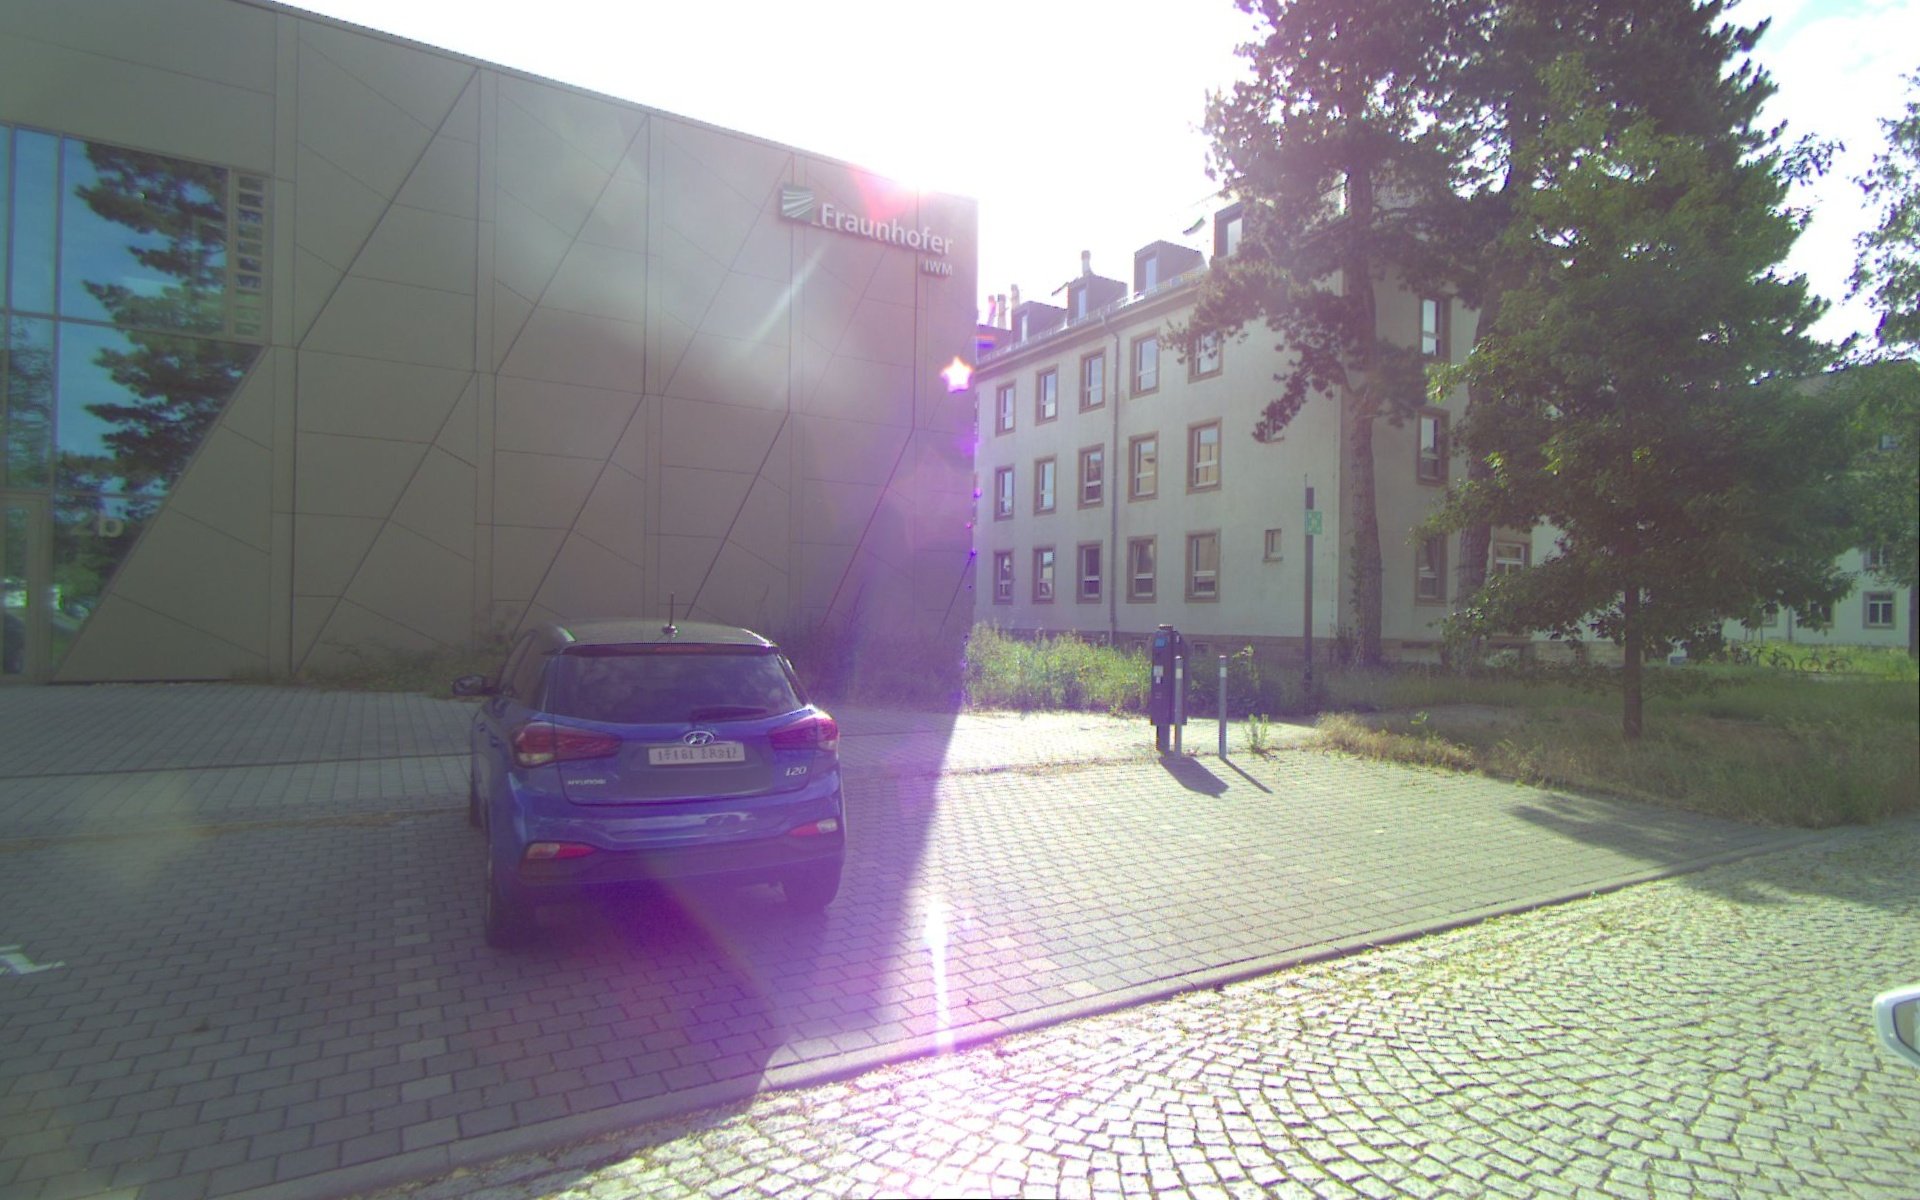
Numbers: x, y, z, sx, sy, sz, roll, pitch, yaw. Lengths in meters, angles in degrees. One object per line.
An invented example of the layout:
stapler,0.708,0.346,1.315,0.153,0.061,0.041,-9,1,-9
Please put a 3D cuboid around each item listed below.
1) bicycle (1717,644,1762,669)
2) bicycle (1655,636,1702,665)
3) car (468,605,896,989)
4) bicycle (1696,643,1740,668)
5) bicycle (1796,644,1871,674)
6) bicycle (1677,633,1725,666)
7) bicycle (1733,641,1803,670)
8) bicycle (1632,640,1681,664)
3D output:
bicycle,33.508,2.421,43.177,2.100,1.061,0.822,2,-1,-31
bicycle,32.345,2.269,45.206,2.525,1.298,0.822,2,-1,-31
car,-1.988,0.841,6.209,1.699,1.483,3.819,2,0,-29
bicycle,33.084,2.408,43.831,2.100,1.061,0.822,2,-1,-31
bicycle,34.306,2.305,39.489,0.820,1.061,2.104,2,-1,-33
bicycle,32.984,2.196,44.693,2.525,1.456,0.822,2,-1,-31
bicycle,33.174,2.274,41.278,0.820,1.123,2.104,2,-1,-33
bicycle,31.896,2.374,45.985,2.525,1.061,0.896,2,-1,-31
